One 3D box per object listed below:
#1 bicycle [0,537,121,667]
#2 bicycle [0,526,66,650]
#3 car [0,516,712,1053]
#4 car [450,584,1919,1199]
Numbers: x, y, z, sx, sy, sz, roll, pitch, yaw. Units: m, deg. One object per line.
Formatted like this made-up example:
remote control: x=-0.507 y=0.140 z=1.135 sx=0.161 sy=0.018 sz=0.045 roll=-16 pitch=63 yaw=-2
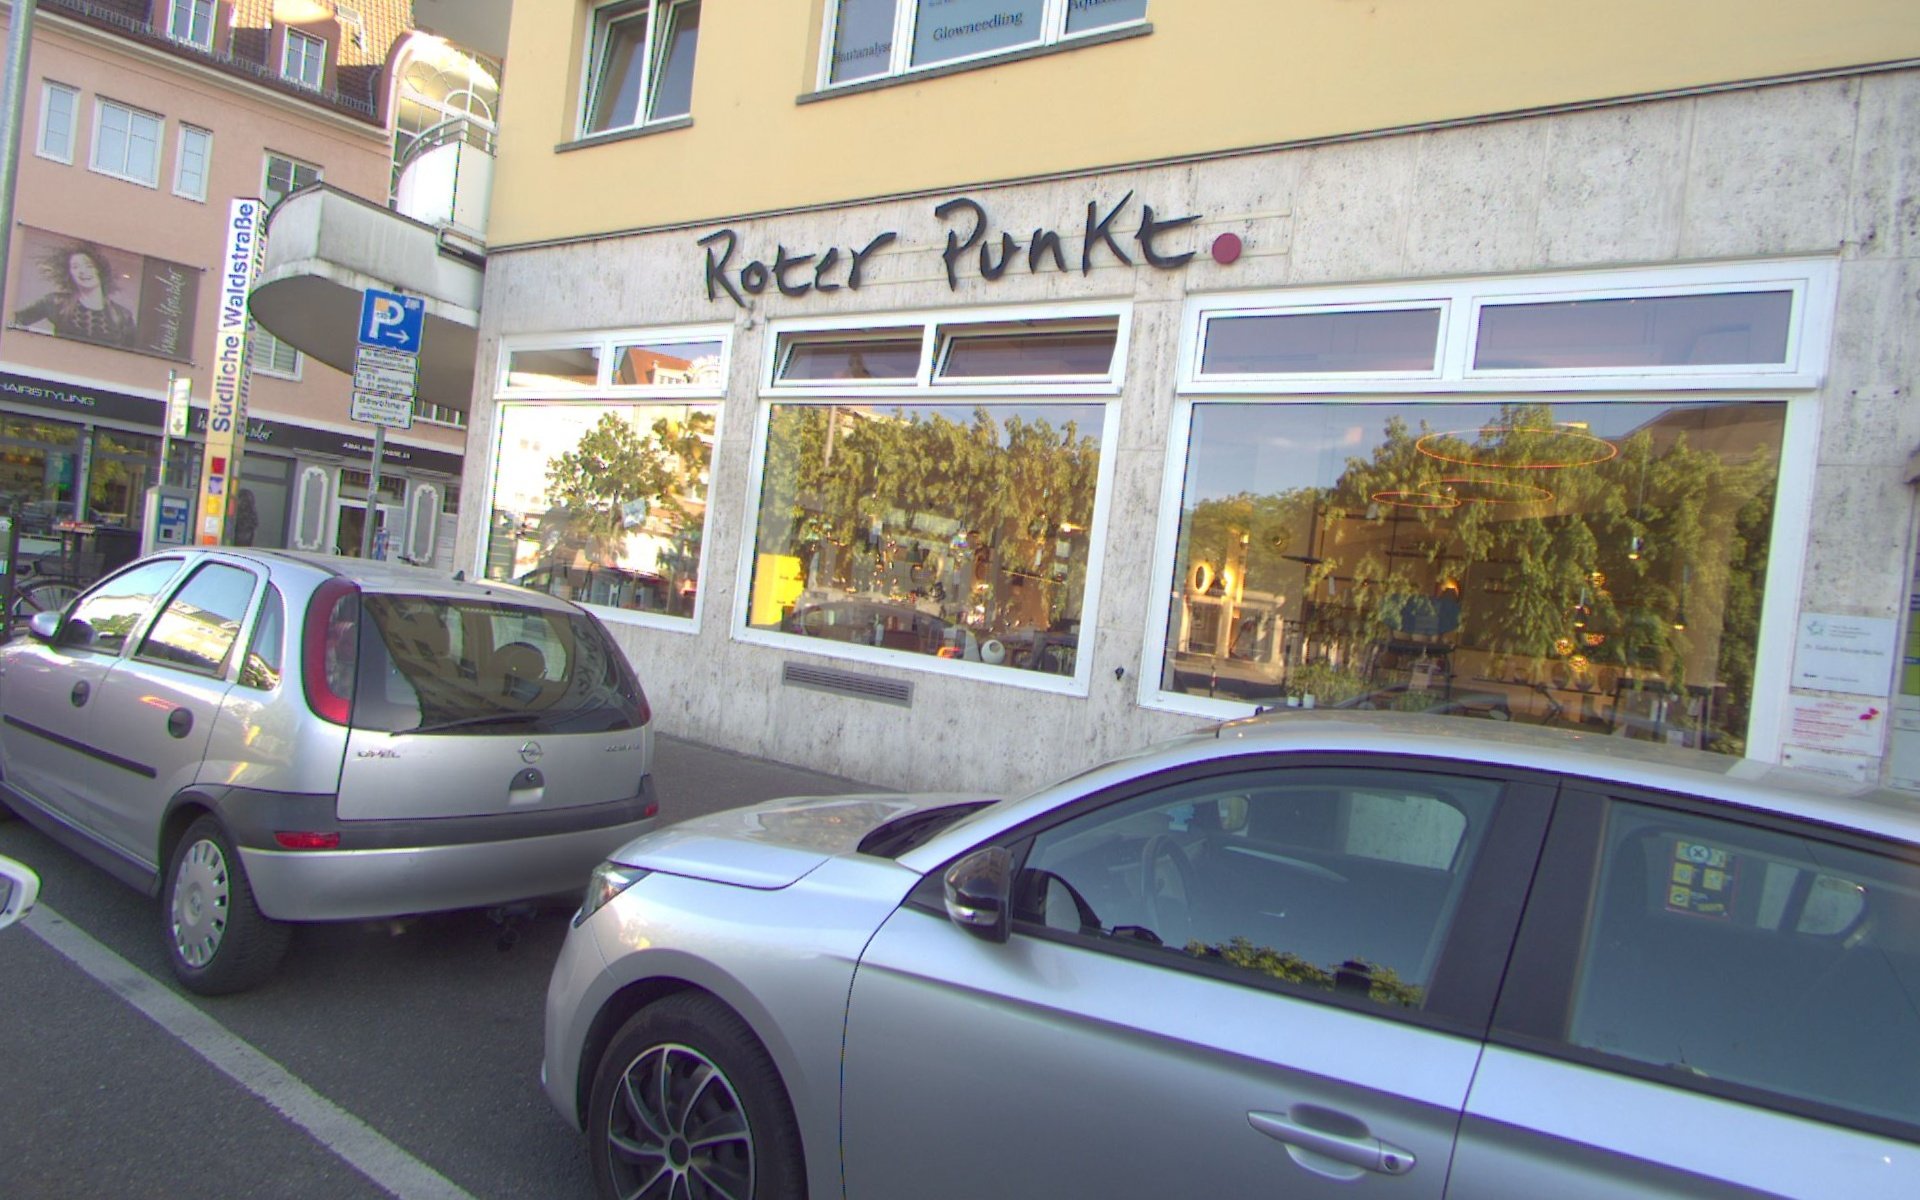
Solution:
bicycle: x=-8.117 y=-0.002 z=8.215 sx=0.348 sy=1.051 sz=1.871 roll=6 pitch=1 yaw=38
bicycle: x=-9.115 y=-0.152 z=8.781 sx=0.408 sy=1.101 sz=1.872 roll=6 pitch=1 yaw=35
car: x=-2.944 y=0.503 z=4.441 sx=3.420 sy=1.407 sz=1.548 roll=6 pitch=-1 yaw=33
car: x=0.744 y=0.918 z=2.250 sx=3.598 sy=1.444 sz=1.550 roll=6 pitch=-1 yaw=30
